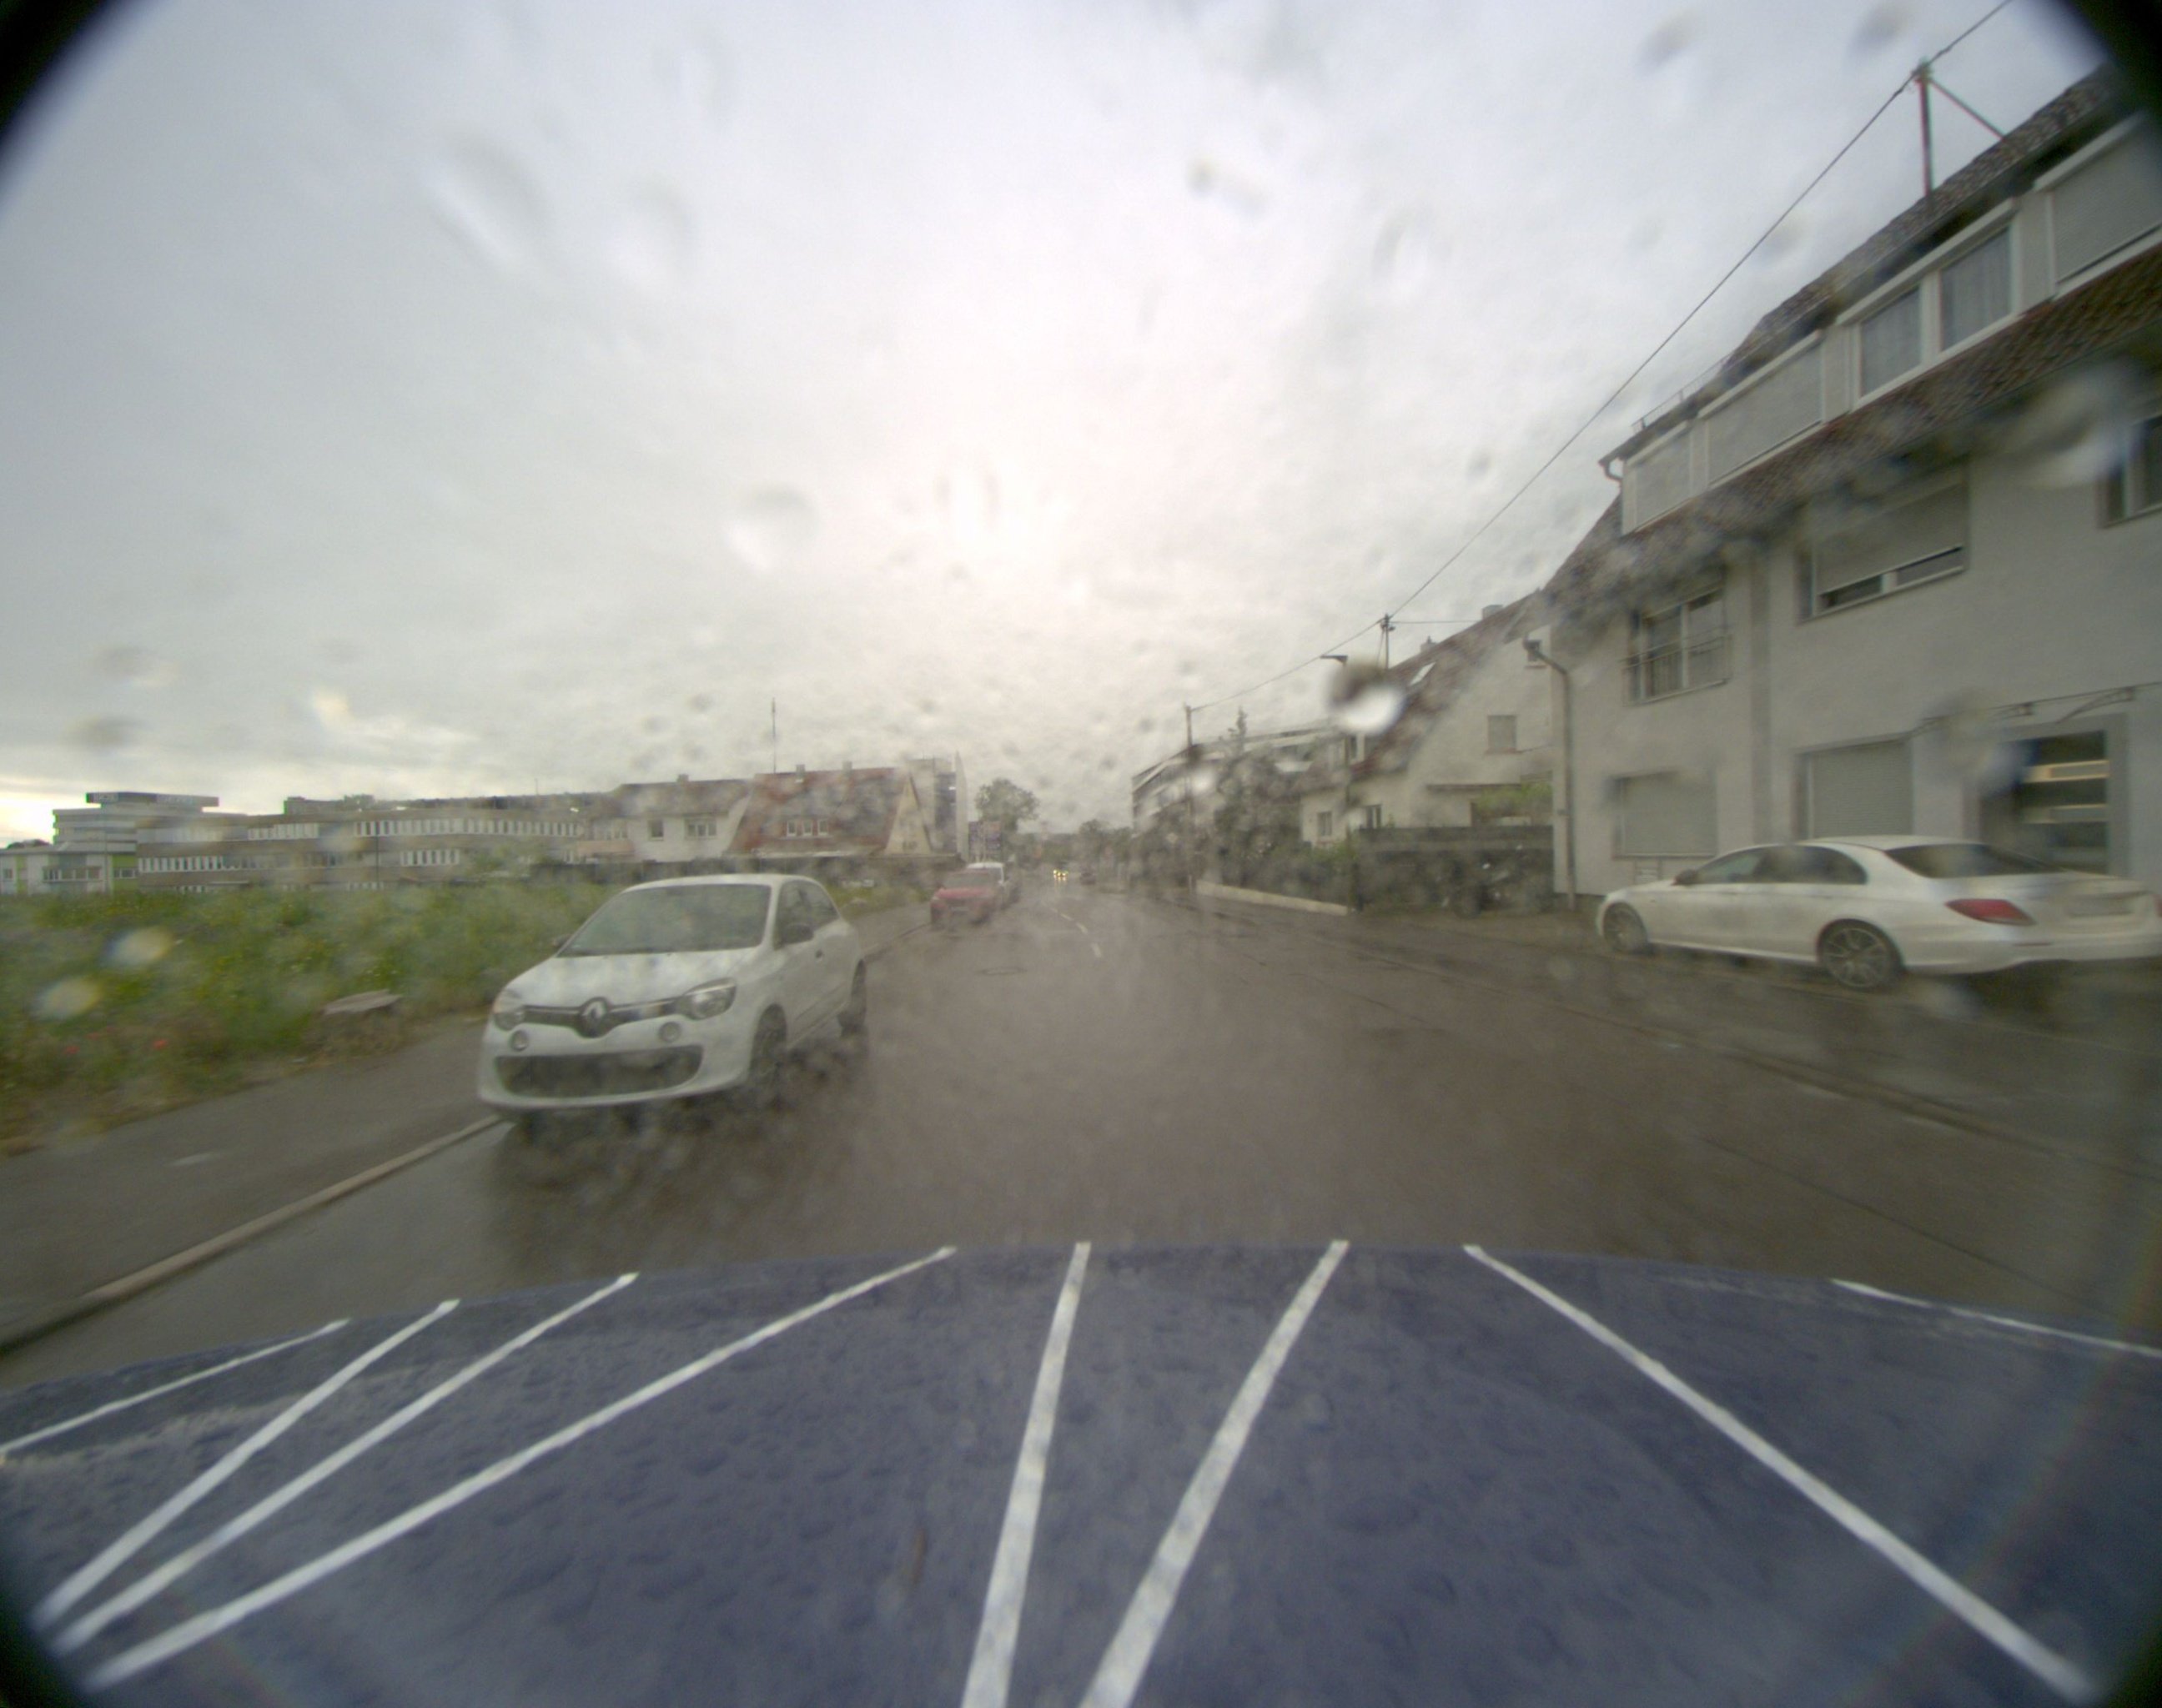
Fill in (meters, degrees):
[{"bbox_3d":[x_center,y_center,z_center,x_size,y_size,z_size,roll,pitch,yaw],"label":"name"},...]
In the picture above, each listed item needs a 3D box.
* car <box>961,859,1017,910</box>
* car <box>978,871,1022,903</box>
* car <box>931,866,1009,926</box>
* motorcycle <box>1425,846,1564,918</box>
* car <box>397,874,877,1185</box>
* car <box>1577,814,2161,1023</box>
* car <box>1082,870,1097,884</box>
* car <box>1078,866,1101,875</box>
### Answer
[{"bbox_3d":[-3.646,1.167,30.867,1.773,1.814,4.574,-3,0,-2],"label":"car"},{"bbox_3d":[-3.850,1.554,36.781,1.773,1.328,4.320,-3,0,-2],"label":"car"},{"bbox_3d":[-3.299,1.190,23.362,1.646,1.565,4.644,-3,0,0],"label":"car"},{"bbox_3d":[8.432,0.555,15.553,2.368,1.266,0.736,-4,0,-1],"label":"motorcycle"},{"bbox_3d":[-2.938,1.015,6.041,1.686,1.548,3.674,-3,0,-2],"label":"car"},{"bbox_3d":[8.204,0.506,8.424,1.999,1.501,4.895,-5,0,-2],"label":"car"},{"bbox_3d":[1.154,3.099,101.342,1.841,1.695,4.324,-2,-1,0],"label":"car"},{"bbox_3d":[1.636,3.227,147.821,4.166,1.411,2.001,-4,0,3],"label":"car"}]
